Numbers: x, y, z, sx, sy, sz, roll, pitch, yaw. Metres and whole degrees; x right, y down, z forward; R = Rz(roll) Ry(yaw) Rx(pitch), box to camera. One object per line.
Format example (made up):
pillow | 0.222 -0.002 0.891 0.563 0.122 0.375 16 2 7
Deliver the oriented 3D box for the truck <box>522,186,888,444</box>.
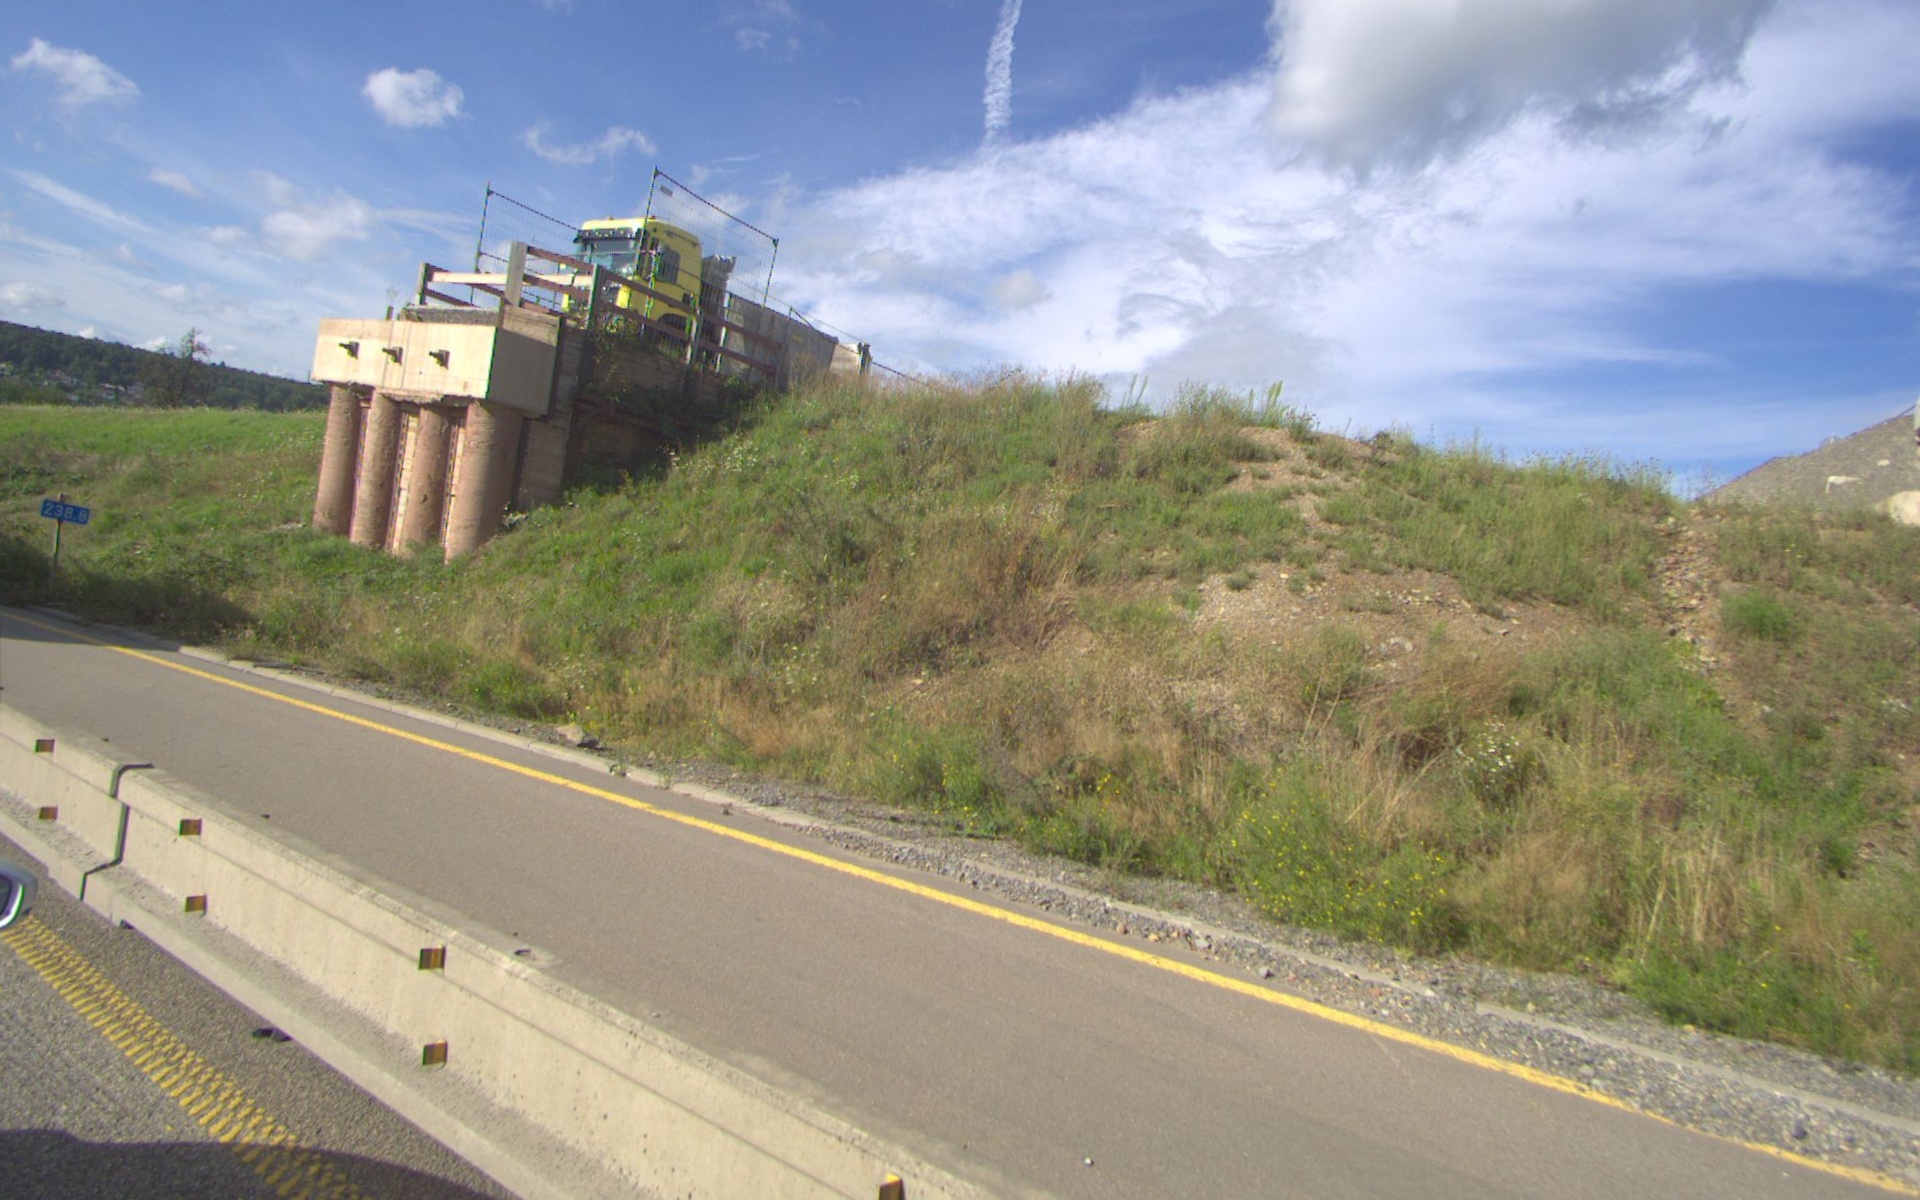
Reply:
truck | -5.821 -6.573 25.244 2.910 3.266 9.279 7 -1 31
